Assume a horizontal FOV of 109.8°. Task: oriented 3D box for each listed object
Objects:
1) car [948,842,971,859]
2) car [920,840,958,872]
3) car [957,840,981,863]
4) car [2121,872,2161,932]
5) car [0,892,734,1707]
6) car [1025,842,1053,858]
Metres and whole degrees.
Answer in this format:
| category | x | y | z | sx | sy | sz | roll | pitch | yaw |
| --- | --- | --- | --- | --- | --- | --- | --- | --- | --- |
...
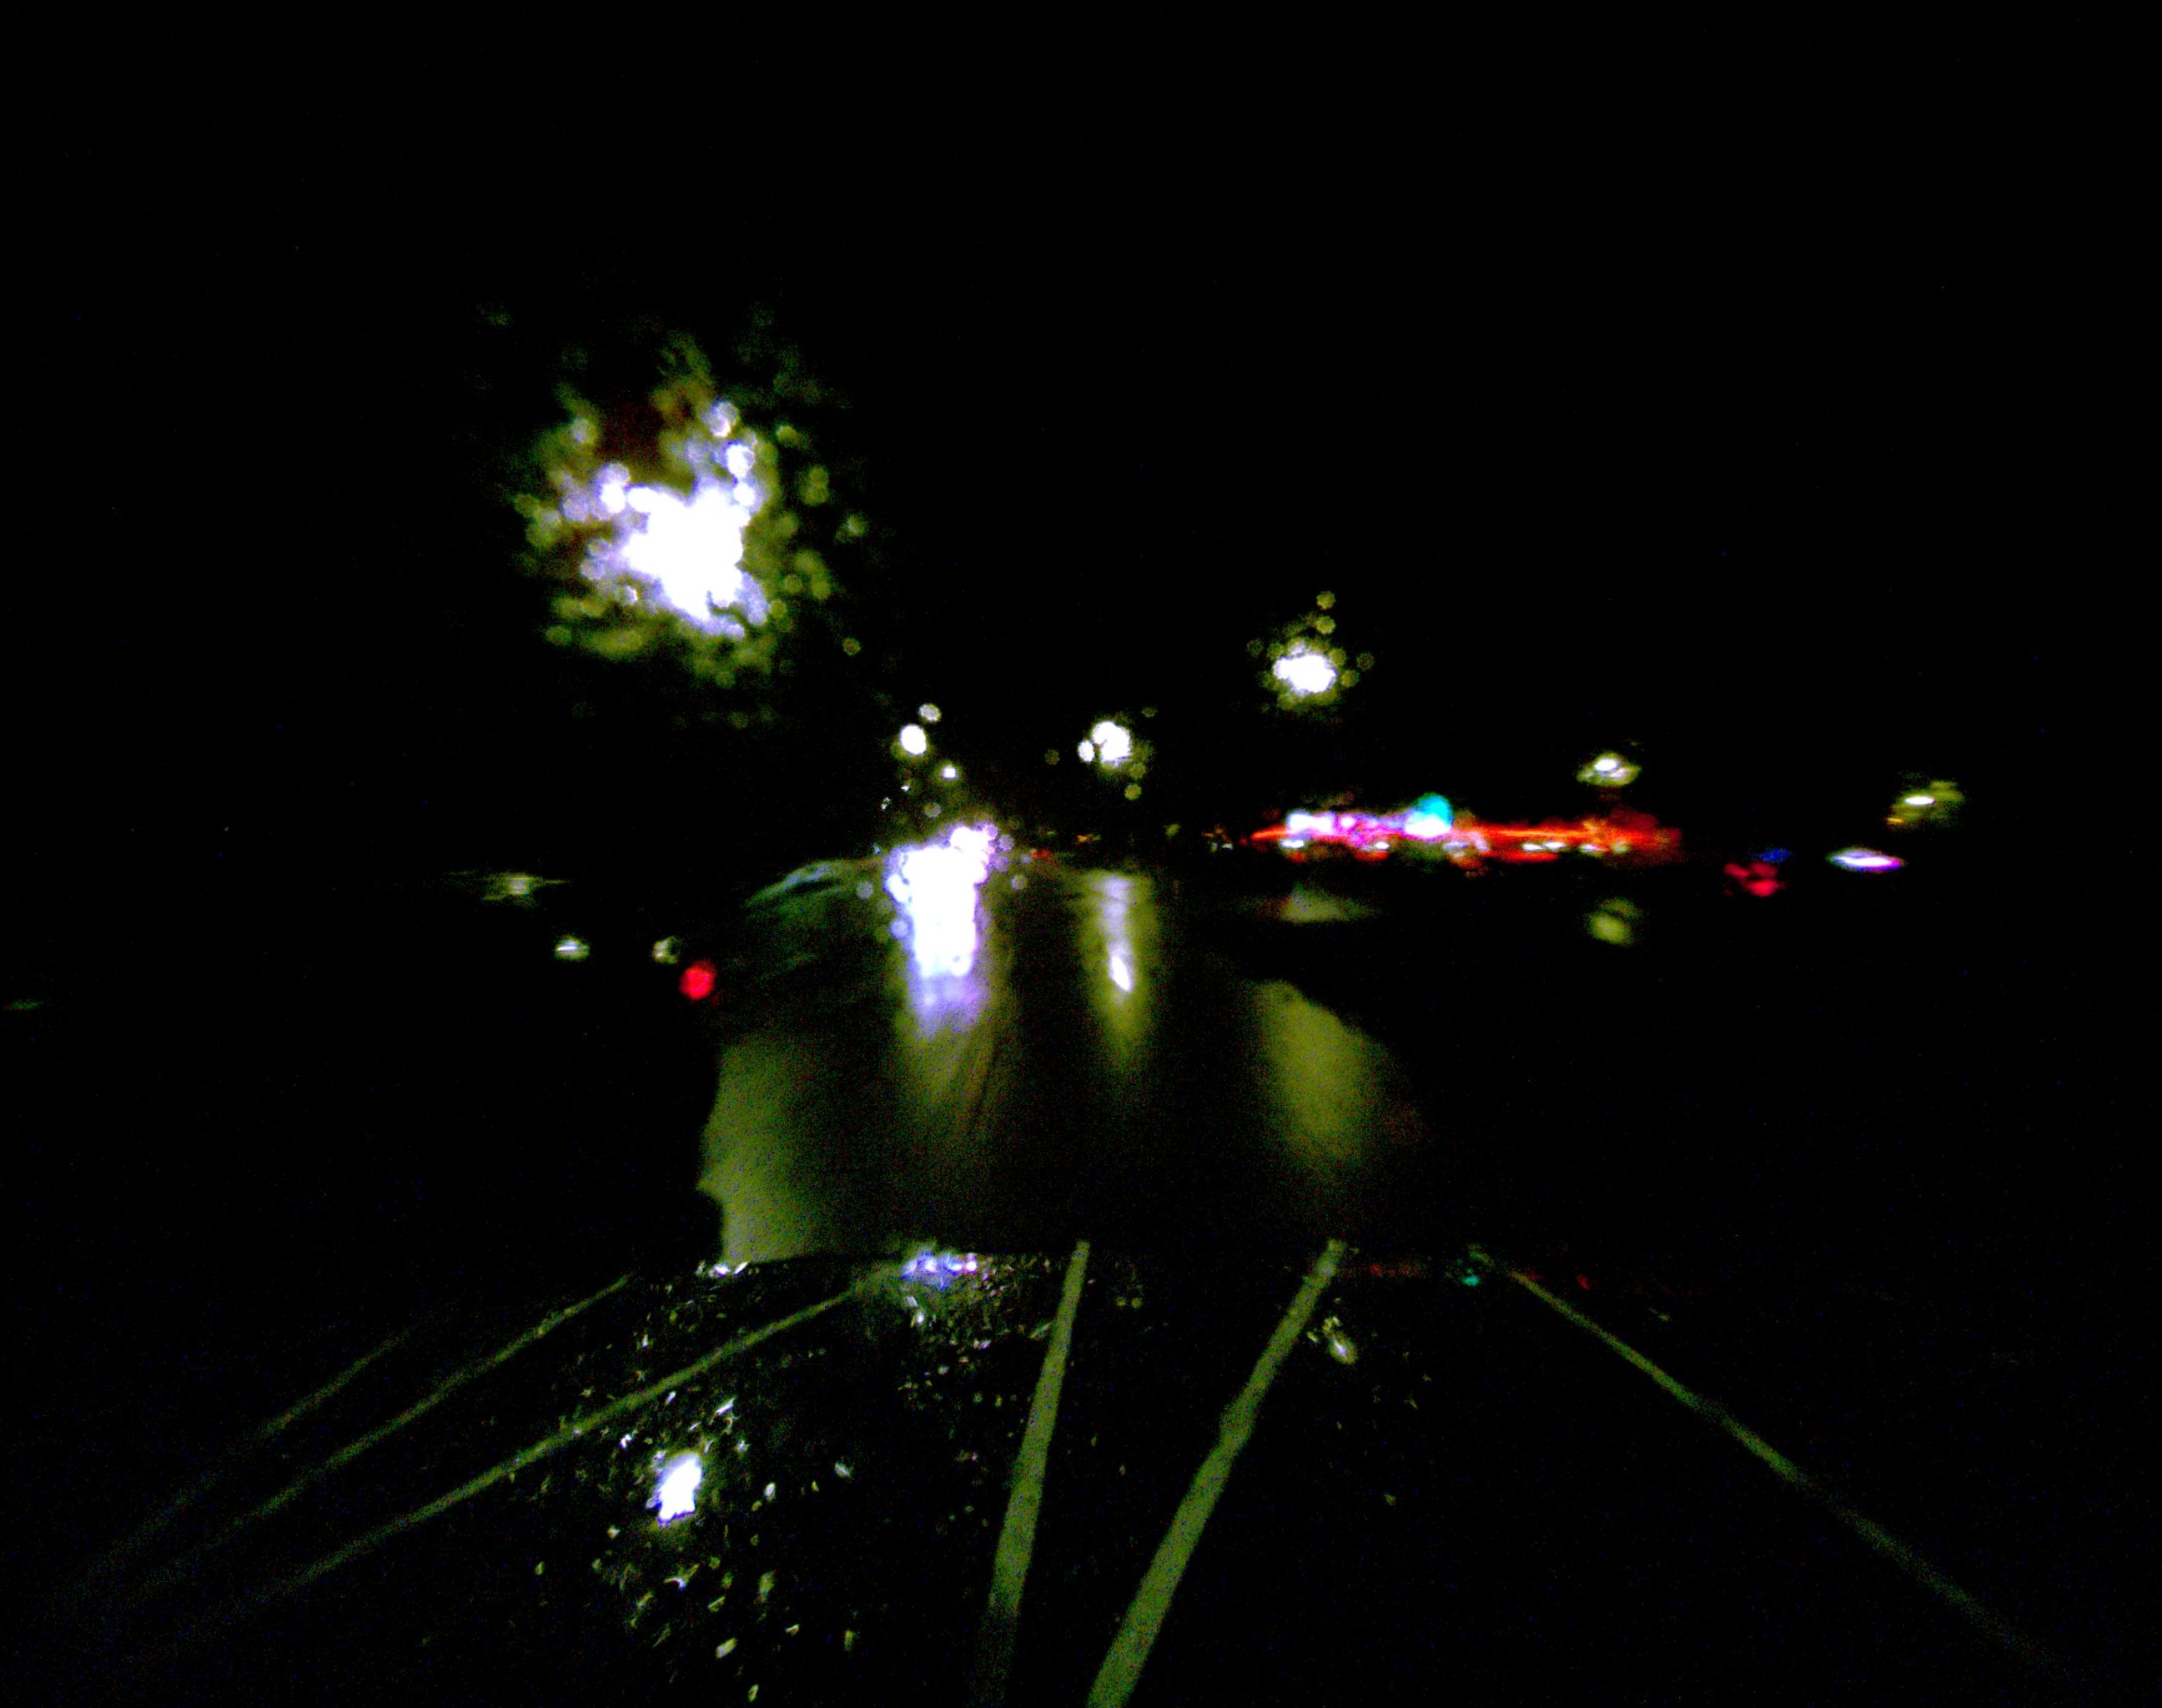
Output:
| category | x | y | z | sx | sy | sz | roll | pitch | yaw |
| --- | --- | --- | --- | --- | --- | --- | --- | --- | --- |
| car | -15.010 | -0.450 | 93.676 | 2.002 | 1.922 | 3.992 | 2 | 0 | -21 |
| car | -8.836 | 0.090 | 47.594 | 1.937 | 1.862 | 3.997 | -2 | 1 | -5 |
| car | -10.327 | -0.215 | 70.491 | 2.000 | 1.922 | 3.998 | 2 | 0 | -7 |
| car | 33.306 | 1.461 | 21.905 | 4.428 | 1.713 | 1.799 | 2 | 0 | -4 |
| car | -2.630 | 0.982 | 1.876 | 1.999 | 1.515 | 3.998 | -2 | 0 | -6 |
| car | -4.101 | -0.384 | 73.436 | 1.772 | 1.449 | 3.946 | -3 | 2 | -16 |
